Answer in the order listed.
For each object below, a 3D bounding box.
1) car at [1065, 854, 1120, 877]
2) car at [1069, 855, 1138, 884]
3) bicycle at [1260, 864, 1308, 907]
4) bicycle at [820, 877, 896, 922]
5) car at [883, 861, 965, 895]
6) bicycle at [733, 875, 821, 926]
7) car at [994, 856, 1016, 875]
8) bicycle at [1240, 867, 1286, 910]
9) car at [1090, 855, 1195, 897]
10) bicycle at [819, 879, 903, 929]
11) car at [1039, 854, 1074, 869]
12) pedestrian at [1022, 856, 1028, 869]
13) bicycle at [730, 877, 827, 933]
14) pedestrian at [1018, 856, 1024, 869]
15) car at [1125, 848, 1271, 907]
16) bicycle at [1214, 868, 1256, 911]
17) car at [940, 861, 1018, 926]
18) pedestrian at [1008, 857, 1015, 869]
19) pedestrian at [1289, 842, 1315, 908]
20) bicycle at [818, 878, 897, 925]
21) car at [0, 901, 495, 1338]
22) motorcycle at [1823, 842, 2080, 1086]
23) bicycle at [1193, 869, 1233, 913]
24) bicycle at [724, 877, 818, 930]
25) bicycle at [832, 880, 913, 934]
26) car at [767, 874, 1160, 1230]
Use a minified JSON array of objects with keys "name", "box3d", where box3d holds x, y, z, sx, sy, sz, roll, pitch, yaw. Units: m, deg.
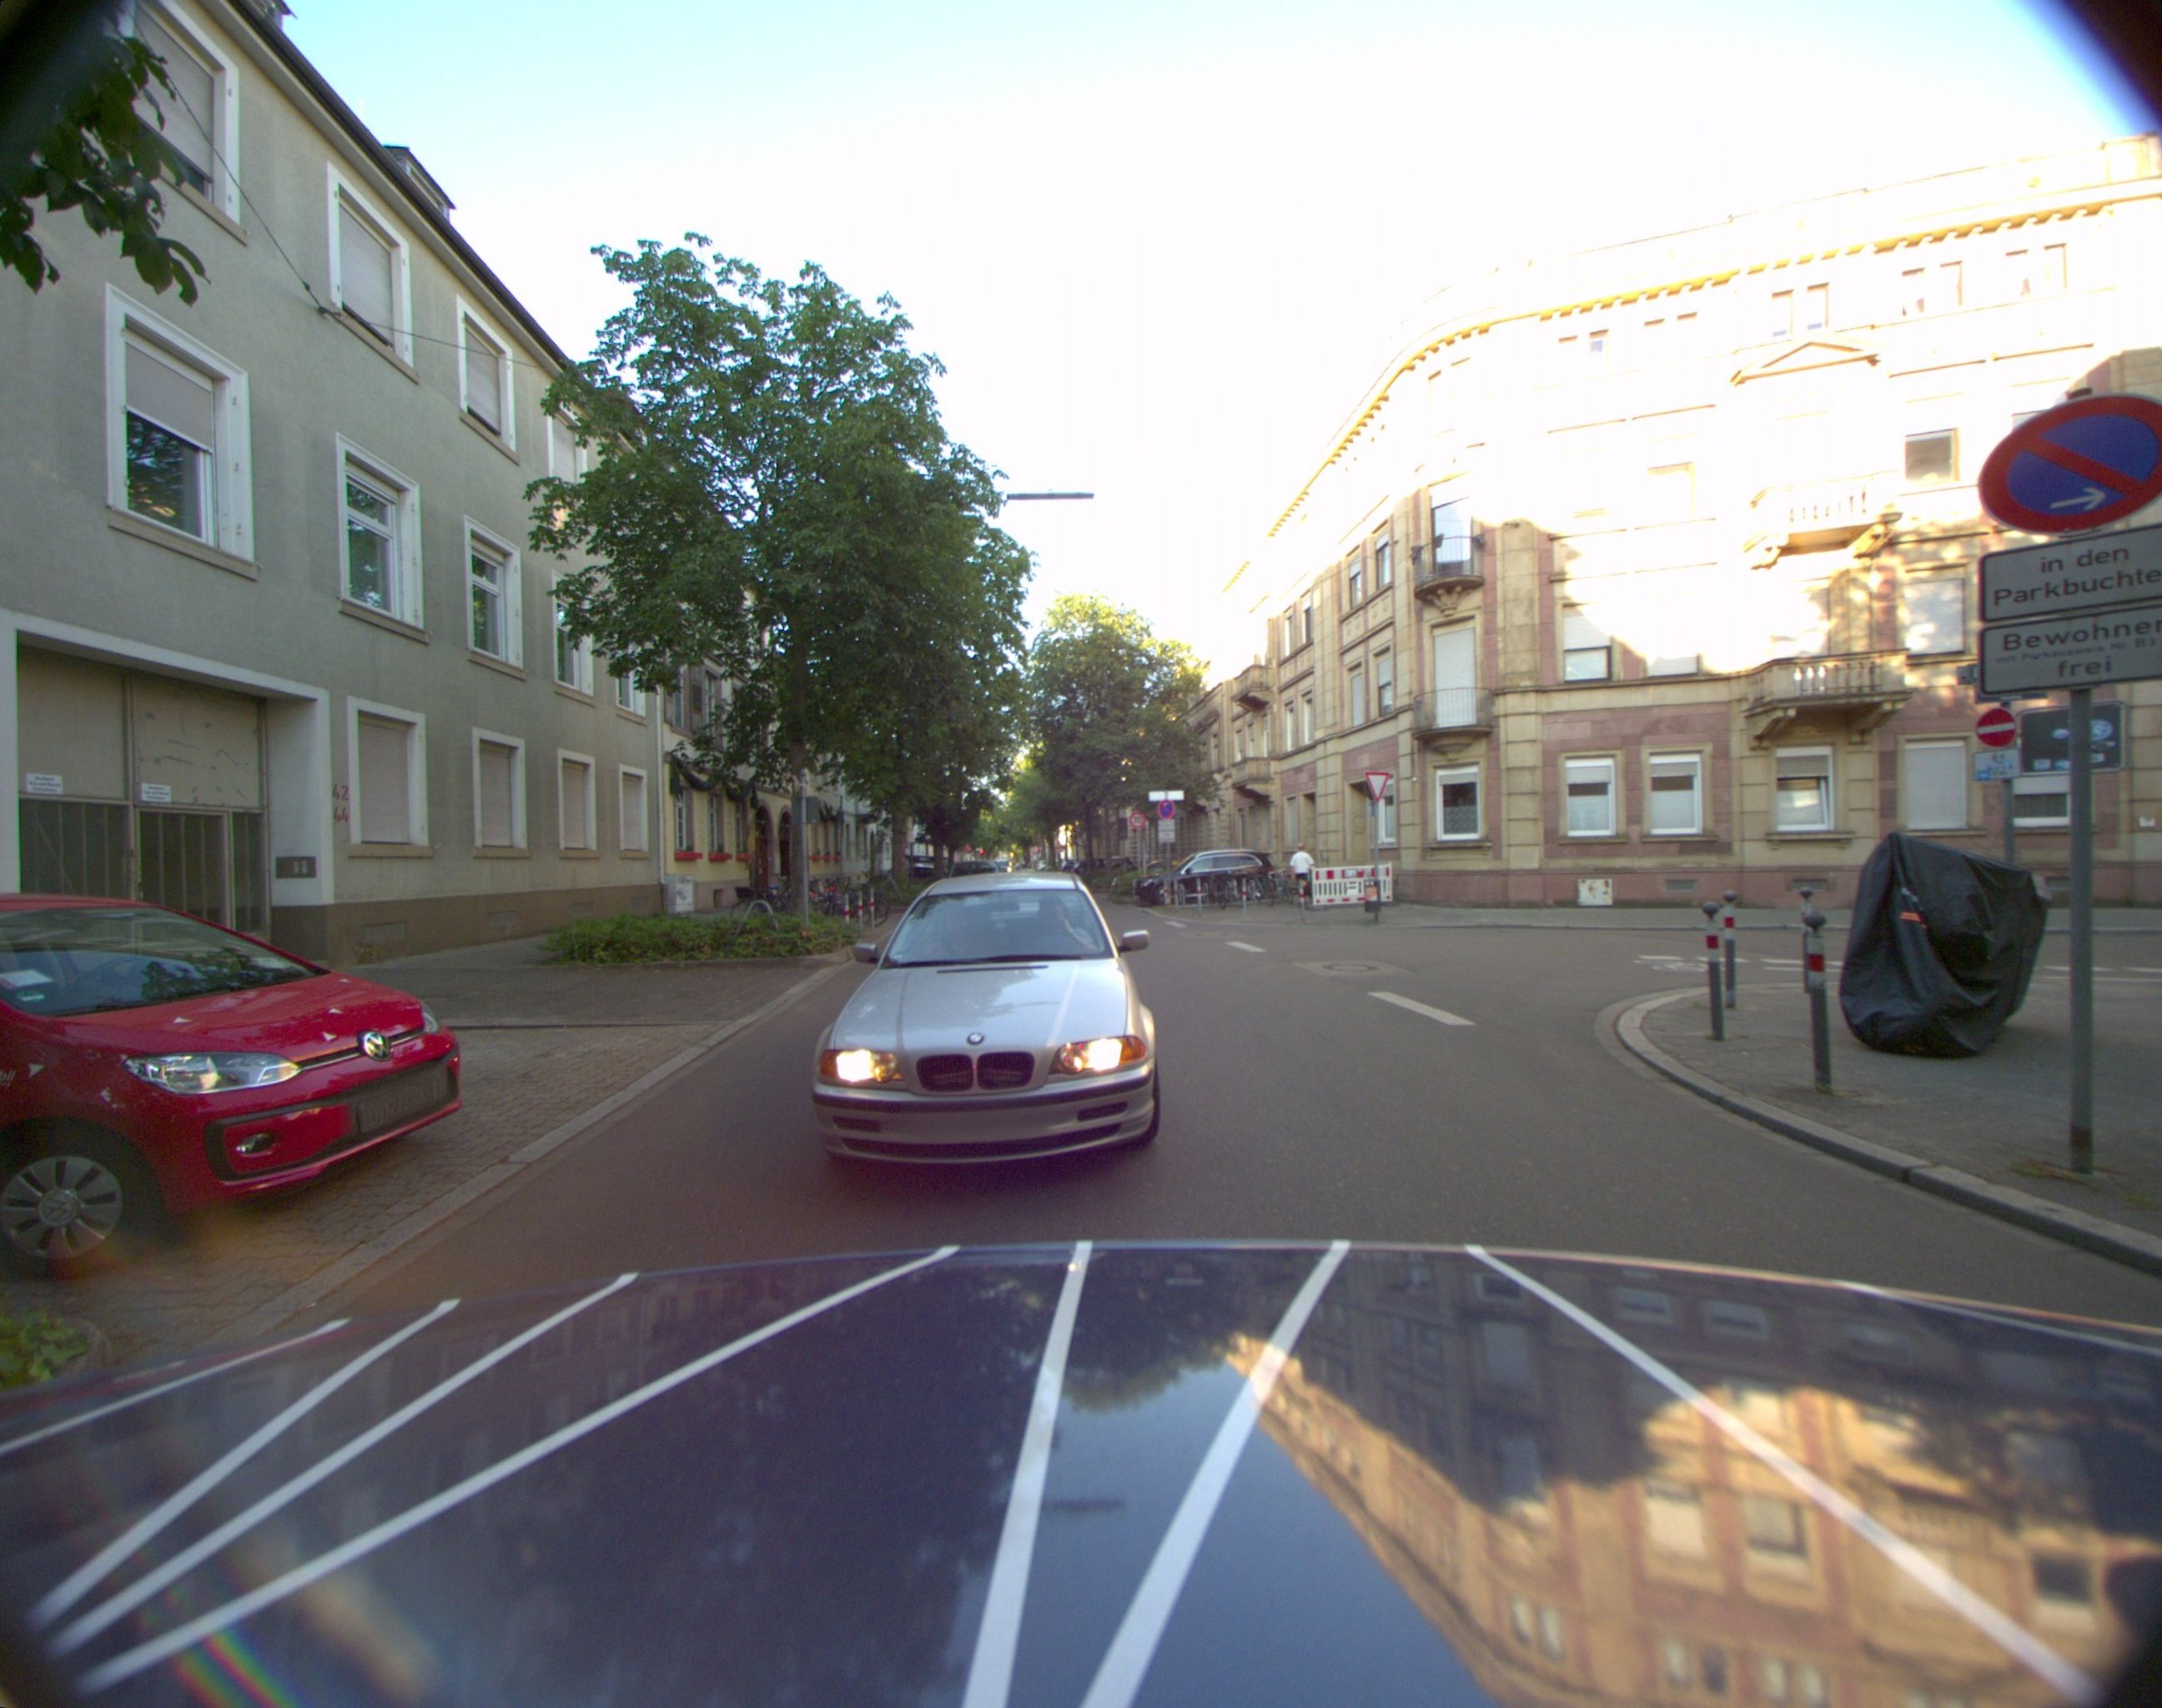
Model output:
[{"name":"car","box3d":[0.862,0.884,60.850,4.245,1.749,1.741,-1,0,-5]},{"name":"car","box3d":[1.408,0.971,48.379,4.245,1.749,1.741,-1,0,-5]},{"name":"bicycle","box3d":[5.793,0.883,21.818,0.562,1.144,2.038,-1,0,-8]},{"name":"bicycle","box3d":[-6.370,1.289,21.788,2.029,1.220,0.535,-1,0,-11]},{"name":"car","box3d":[-8.556,1.285,41.669,4.245,1.729,1.741,-1,0,-6]},{"name":"bicycle","box3d":[-7.816,1.183,19.596,2.029,1.220,0.535,-1,0,-13]},{"name":"car","box3d":[-6.680,1.004,66.796,1.806,1.543,3.998,-1,0,-4]},{"name":"bicycle","box3d":[5.174,0.963,21.769,0.562,1.144,2.038,-1,0,-8]},{"name":"car","box3d":[2.528,0.907,32.086,4.243,1.668,1.742,-1,0,-1]},{"name":"bicycle","box3d":[-5.662,1.285,19.637,2.029,1.220,0.535,-1,0,-11]},{"name":"car","box3d":[-3.011,0.914,92.535,4.245,1.749,1.741,-1,0,-5]},{"name":"pedestrian","box3d":[-7.959,1.169,107.636,0.712,1.843,0.676,-1,1,-13]},{"name":"bicycle","box3d":[-7.035,1.173,17.748,2.030,1.220,0.535,-1,0,-16]},{"name":"pedestrian","box3d":[-8.580,1.185,108.296,0.712,1.843,0.676,-1,1,-13]},{"name":"car","box3d":[3.723,0.736,24.658,4.423,1.771,1.741,-1,0,-2]},{"name":"bicycle","box3d":[4.381,0.986,21.727,0.562,1.144,2.038,-1,0,-6]},{"name":"car","box3d":[-2.666,0.986,20.644,1.806,1.543,3.998,-1,0,-4]},{"name":"pedestrian","box3d":[-11.771,1.450,128.518,1.185,2.002,1.020,-1,1,-9]},{"name":"pedestrian","box3d":[6.144,0.567,21.136,0.572,1.797,0.652,-1,1,9]},{"name":"bicycle","box3d":[-6.129,1.289,20.918,2.029,1.220,0.535,-1,0,-11]},{"name":"car","box3d":[-5.167,1.040,3.426,3.621,1.468,1.663,-1,0,-7]},{"name":"motorcycle","box3d":[6.495,0.676,5.636,2.286,1.496,0.816,-1,1,-30]},{"name":"bicycle","box3d":[3.742,1.030,21.659,0.562,1.144,2.038,-1,0,-6]},{"name":"bicycle","box3d":[-7.495,1.183,18.450,2.030,1.220,0.535,-1,0,-16]},{"name":"bicycle","box3d":[-5.038,1.258,18.397,1.849,1.220,0.535,-1,0,-16]},{"name":"car","box3d":[-0.491,0.939,5.592,1.711,1.433,4.436,-1,0,1]}]
